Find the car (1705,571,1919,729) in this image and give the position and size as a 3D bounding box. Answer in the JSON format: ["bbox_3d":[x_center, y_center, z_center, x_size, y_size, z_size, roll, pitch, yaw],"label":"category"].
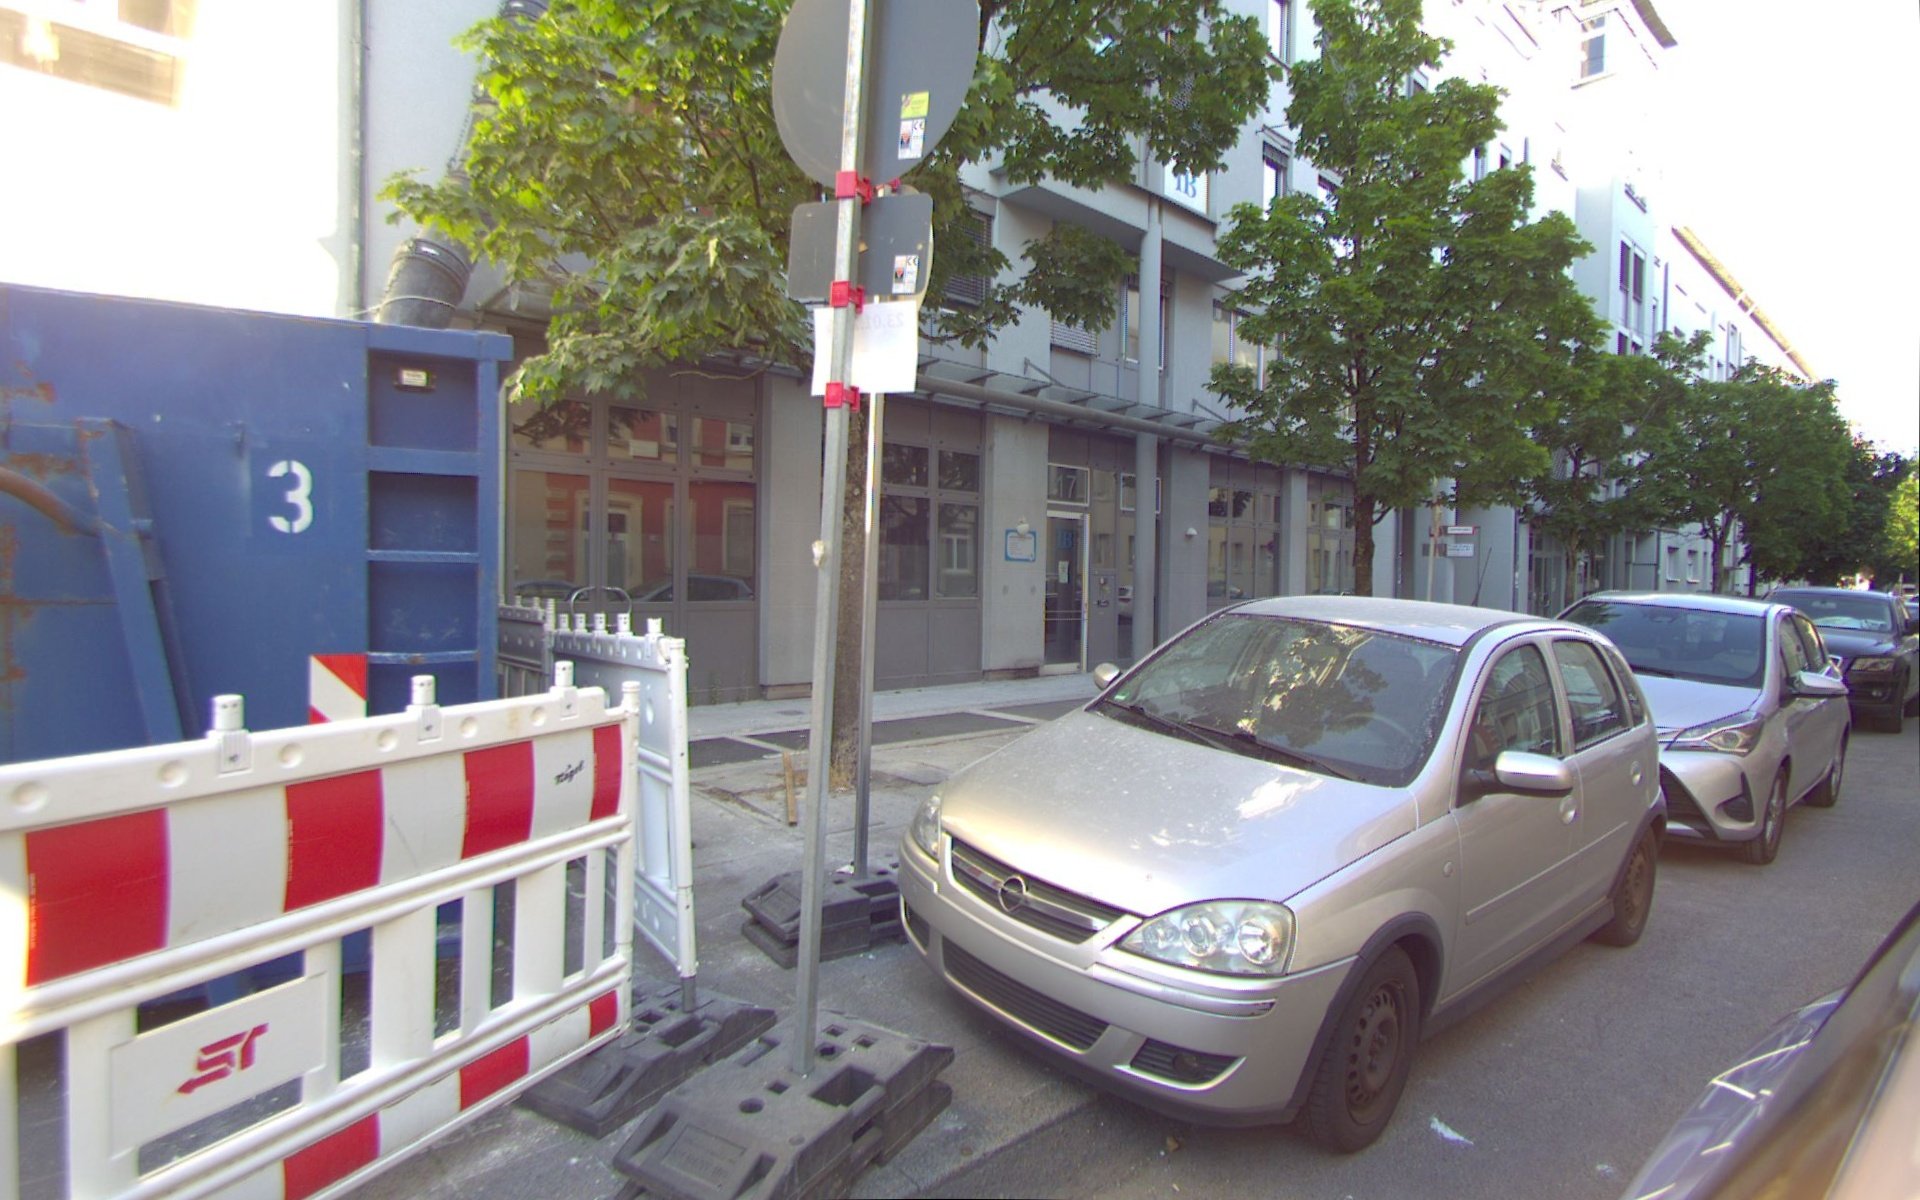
[{"bbox_3d":[11.326,0.506,13.111,4.360,1.642,1.888,-1,3,-43],"label":"car"}]

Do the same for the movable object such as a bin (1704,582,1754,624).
[{"bbox_3d":[28.305,0.097,37.266,1.120,1.454,1.263,0,3,-43],"label":"movable object such as a bin"}]

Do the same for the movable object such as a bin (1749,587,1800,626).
[{"bbox_3d":[29.359,0.213,36.472,1.120,1.337,1.263,0,3,-43],"label":"movable object such as a bin"}]

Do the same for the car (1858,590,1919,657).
[{"bbox_3d":[23.034,0.540,24.319,4.272,1.446,1.766,-1,3,-43],"label":"car"}]

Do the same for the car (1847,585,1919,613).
[{"bbox_3d":[59.994,-0.068,65.320,1.968,1.584,3.991,0,4,-45],"label":"car"}]

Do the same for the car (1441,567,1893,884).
[{"bbox_3d":[5.057,0.603,7.030,3.902,1.543,1.679,0,3,-42],"label":"car"}]

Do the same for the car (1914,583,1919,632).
[{"bbox_3d":[34.964,0.276,35.576,4.646,1.655,1.873,-1,3,-45],"label":"car"}]

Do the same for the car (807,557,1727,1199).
[{"bbox_3d":[1.432,0.643,3.938,3.664,1.493,1.680,0,3,-41],"label":"car"}]

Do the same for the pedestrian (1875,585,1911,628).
[{"bbox_3d":[33.000,0.224,35.801,0.856,1.481,0.801,0,3,-43],"label":"pedestrian"}]

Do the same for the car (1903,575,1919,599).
[{"bbox_3d":[96.817,-1.281,101.490,2.147,2.311,6.135,3,3,33],"label":"car"}]

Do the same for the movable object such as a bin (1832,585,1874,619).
[{"bbox_3d":[40.245,0.085,45.604,1.203,1.454,1.286,0,3,-43],"label":"movable object such as a bin"}]

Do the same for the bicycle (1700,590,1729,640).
[{"bbox_3d":[19.311,0.359,25.913,0.518,1.182,1.718,3,3,36],"label":"bicycle"}]
